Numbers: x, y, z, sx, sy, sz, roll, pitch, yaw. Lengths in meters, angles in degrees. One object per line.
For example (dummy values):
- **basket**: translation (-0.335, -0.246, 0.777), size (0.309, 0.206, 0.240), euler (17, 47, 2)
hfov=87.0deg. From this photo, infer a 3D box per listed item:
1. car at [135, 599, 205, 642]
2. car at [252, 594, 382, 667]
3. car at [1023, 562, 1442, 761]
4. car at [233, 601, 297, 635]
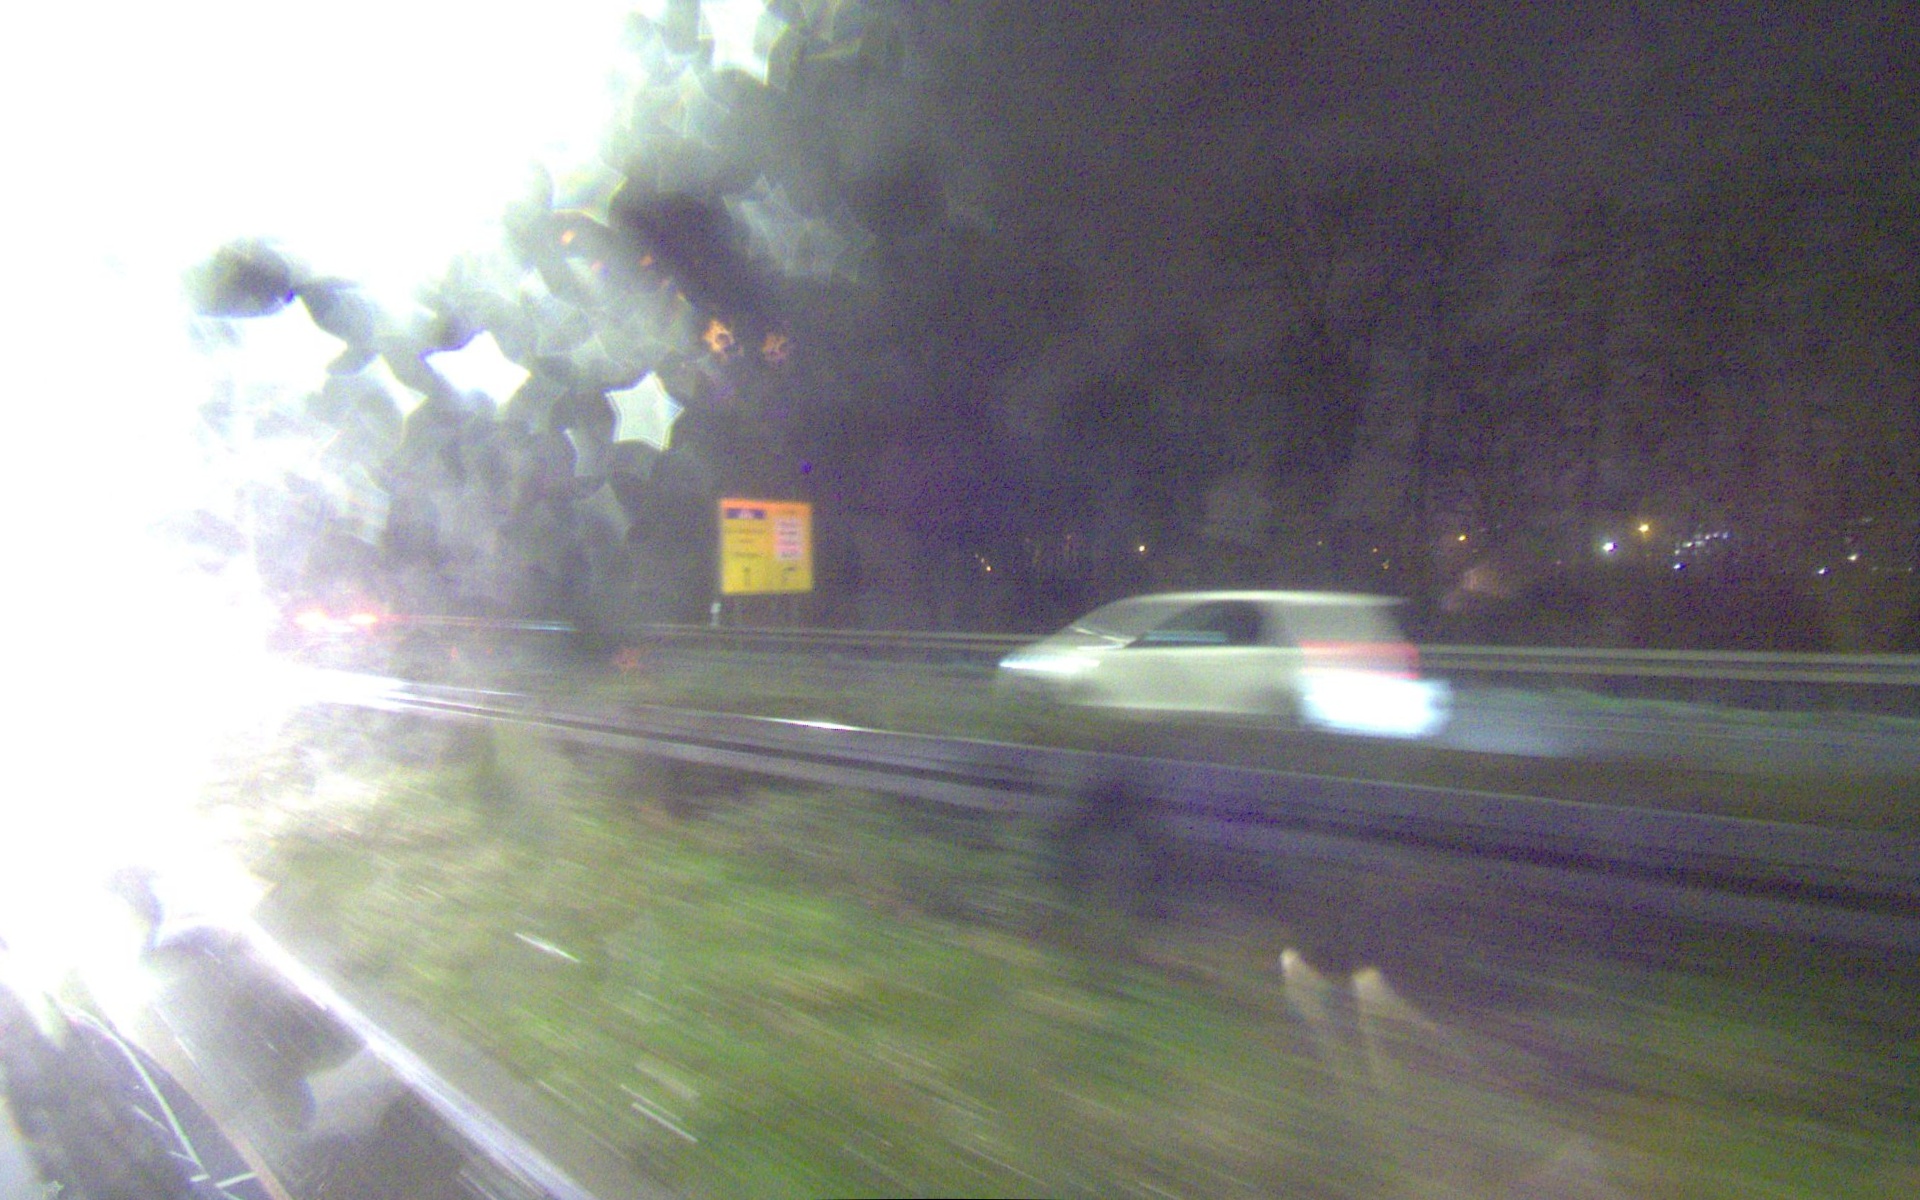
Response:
- **car**: translation (-32.010, 0.792, 40.962), size (1.848, 1.619, 4.252), euler (-1, 1, -43)
- **car**: translation (-16.637, 0.711, 26.100), size (4.249, 1.643, 1.747), euler (2, 2, 42)
- **car**: translation (2.590, 0.529, 9.789), size (3.497, 1.583, 1.833), euler (-2, -1, 34)
- **car**: translation (-30.579, 0.763, 44.479), size (1.691, 1.434, 4.672), euler (0, -1, -43)
